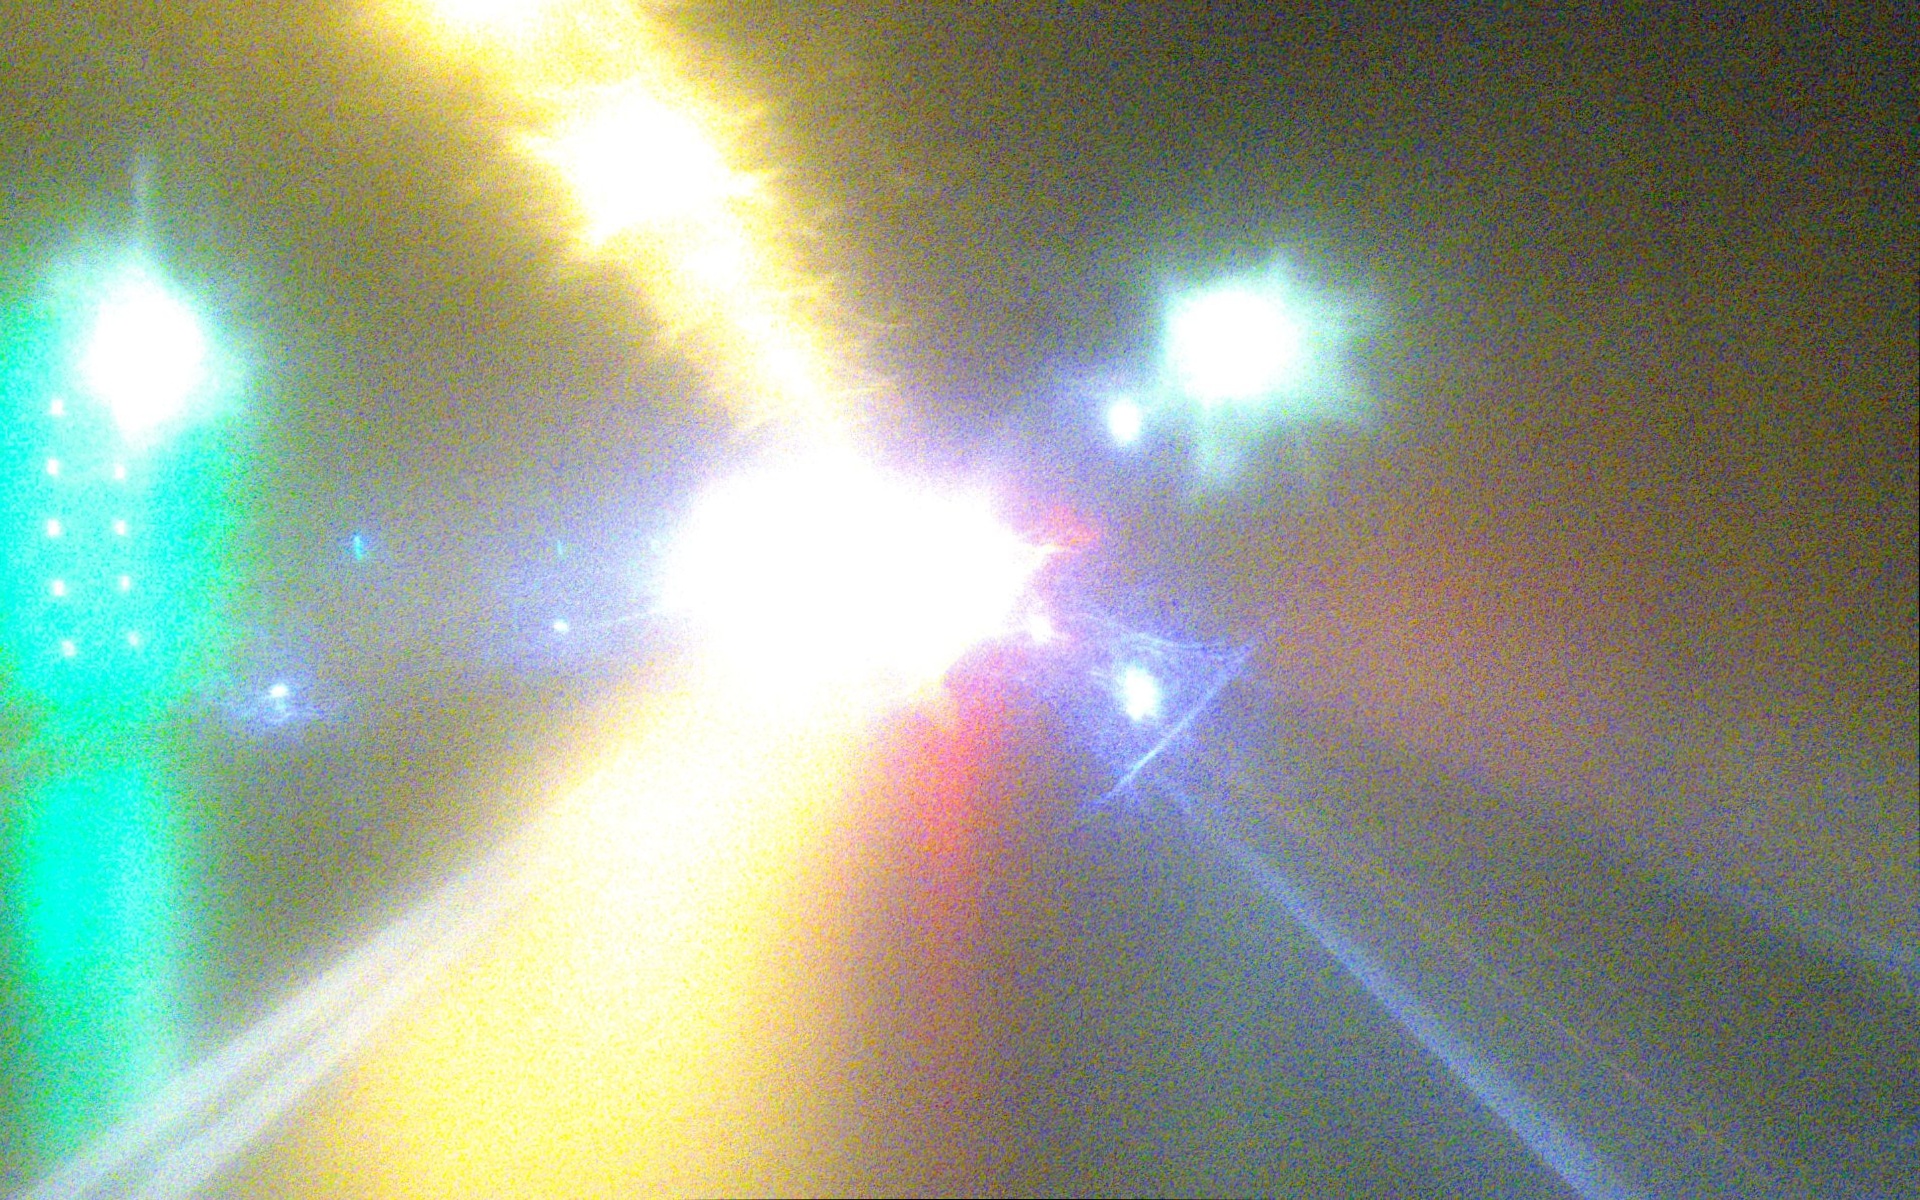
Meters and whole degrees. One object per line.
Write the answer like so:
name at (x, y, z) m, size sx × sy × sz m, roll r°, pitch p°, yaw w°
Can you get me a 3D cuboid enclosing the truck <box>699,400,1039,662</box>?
truck at (-1.008, -0.819, 41.098) m, size 3.535 × 2.684 × 8.956 m, roll -2°, pitch 1°, yaw 0°
